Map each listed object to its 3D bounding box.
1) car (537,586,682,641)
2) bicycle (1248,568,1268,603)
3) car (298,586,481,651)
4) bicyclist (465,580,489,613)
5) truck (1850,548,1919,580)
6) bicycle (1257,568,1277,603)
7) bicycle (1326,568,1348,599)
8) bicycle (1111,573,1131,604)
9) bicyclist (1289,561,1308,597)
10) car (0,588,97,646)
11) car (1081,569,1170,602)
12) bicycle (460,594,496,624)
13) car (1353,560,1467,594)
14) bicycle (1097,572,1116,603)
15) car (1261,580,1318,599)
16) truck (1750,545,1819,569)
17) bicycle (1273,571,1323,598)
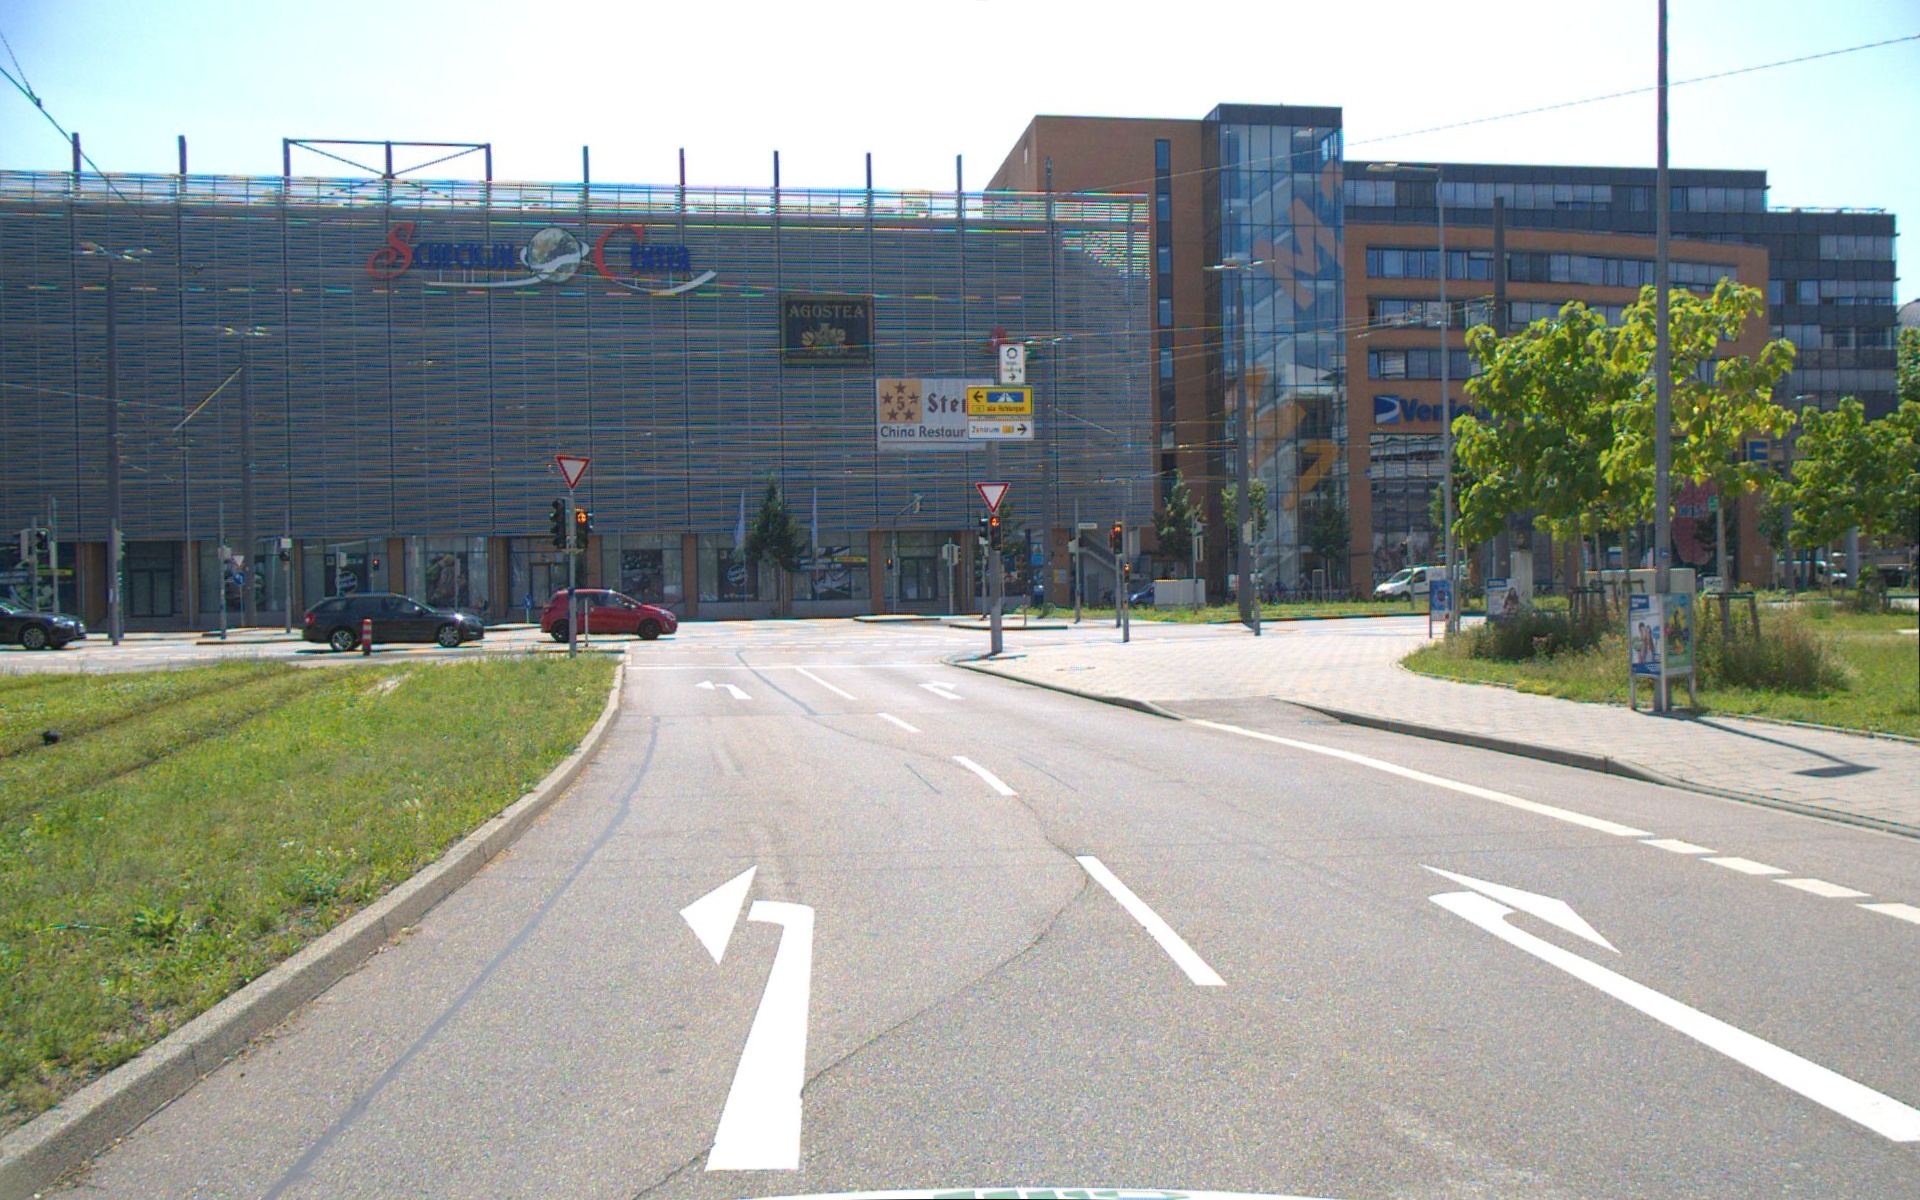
[{"bbox_3d":[-10.264,0.372,48.454,4.055,1.534,1.836,0,1,-14],"label":"car"},{"bbox_3d":[17.687,-0.866,98.259,0.475,2.049,2.342,0,1,-8],"label":"bicycle"},{"bbox_3d":[-15.011,0.461,43.776,4.454,1.534,1.834,-2,1,-17],"label":"car"},{"bbox_3d":[-23.827,-0.165,81.607,1.019,1.599,0.777,0,1,-4],"label":"bicyclist"},{"bbox_3d":[83.985,-3.193,146.776,1.973,2.858,9.146,0,1,-30],"label":"truck"},{"bbox_3d":[18.219,-0.896,98.250,0.475,2.049,2.342,0,1,-8],"label":"bicycle"},{"bbox_3d":[22.469,-0.994,98.608,0.475,1.828,2.255,0,1,-8],"label":"bicycle"},{"bbox_3d":[9.234,-0.694,94.956,0.587,1.761,2.256,0,1,-9],"label":"bicycle"},{"bbox_3d":[19.774,-1.227,96.587,0.895,2.049,0.747,0,1,-9],"label":"bicyclist"},{"bbox_3d":[-25.938,0.444,44.250,4.682,1.486,1.882,0,1,-13],"label":"car"},{"bbox_3d":[7.967,-0.689,79.604,3.917,1.565,1.876,0,1,-12],"label":"car"},{"bbox_3d":[-23.839,0.442,81.837,1.040,1.414,3.022,0,1,-3],"label":"bicycle"},{"bbox_3d":[22.944,-1.189,84.366,5.374,1.697,1.992,0,1,-16],"label":"car"},{"bbox_3d":[8.389,-0.750,94.850,0.587,1.761,2.256,0,1,-9],"label":"bicycle"},{"bbox_3d":[18.805,-0.587,94.507,2.942,1.053,1.346,0,1,-13],"label":"car"},{"bbox_3d":[73.574,-3.809,147.740,1.860,2.049,5.315,-1,1,-35],"label":"truck"},{"bbox_3d":[19.745,-0.917,96.530,2.795,1.584,0.703,0,1,-8],"label":"bicycle"}]
